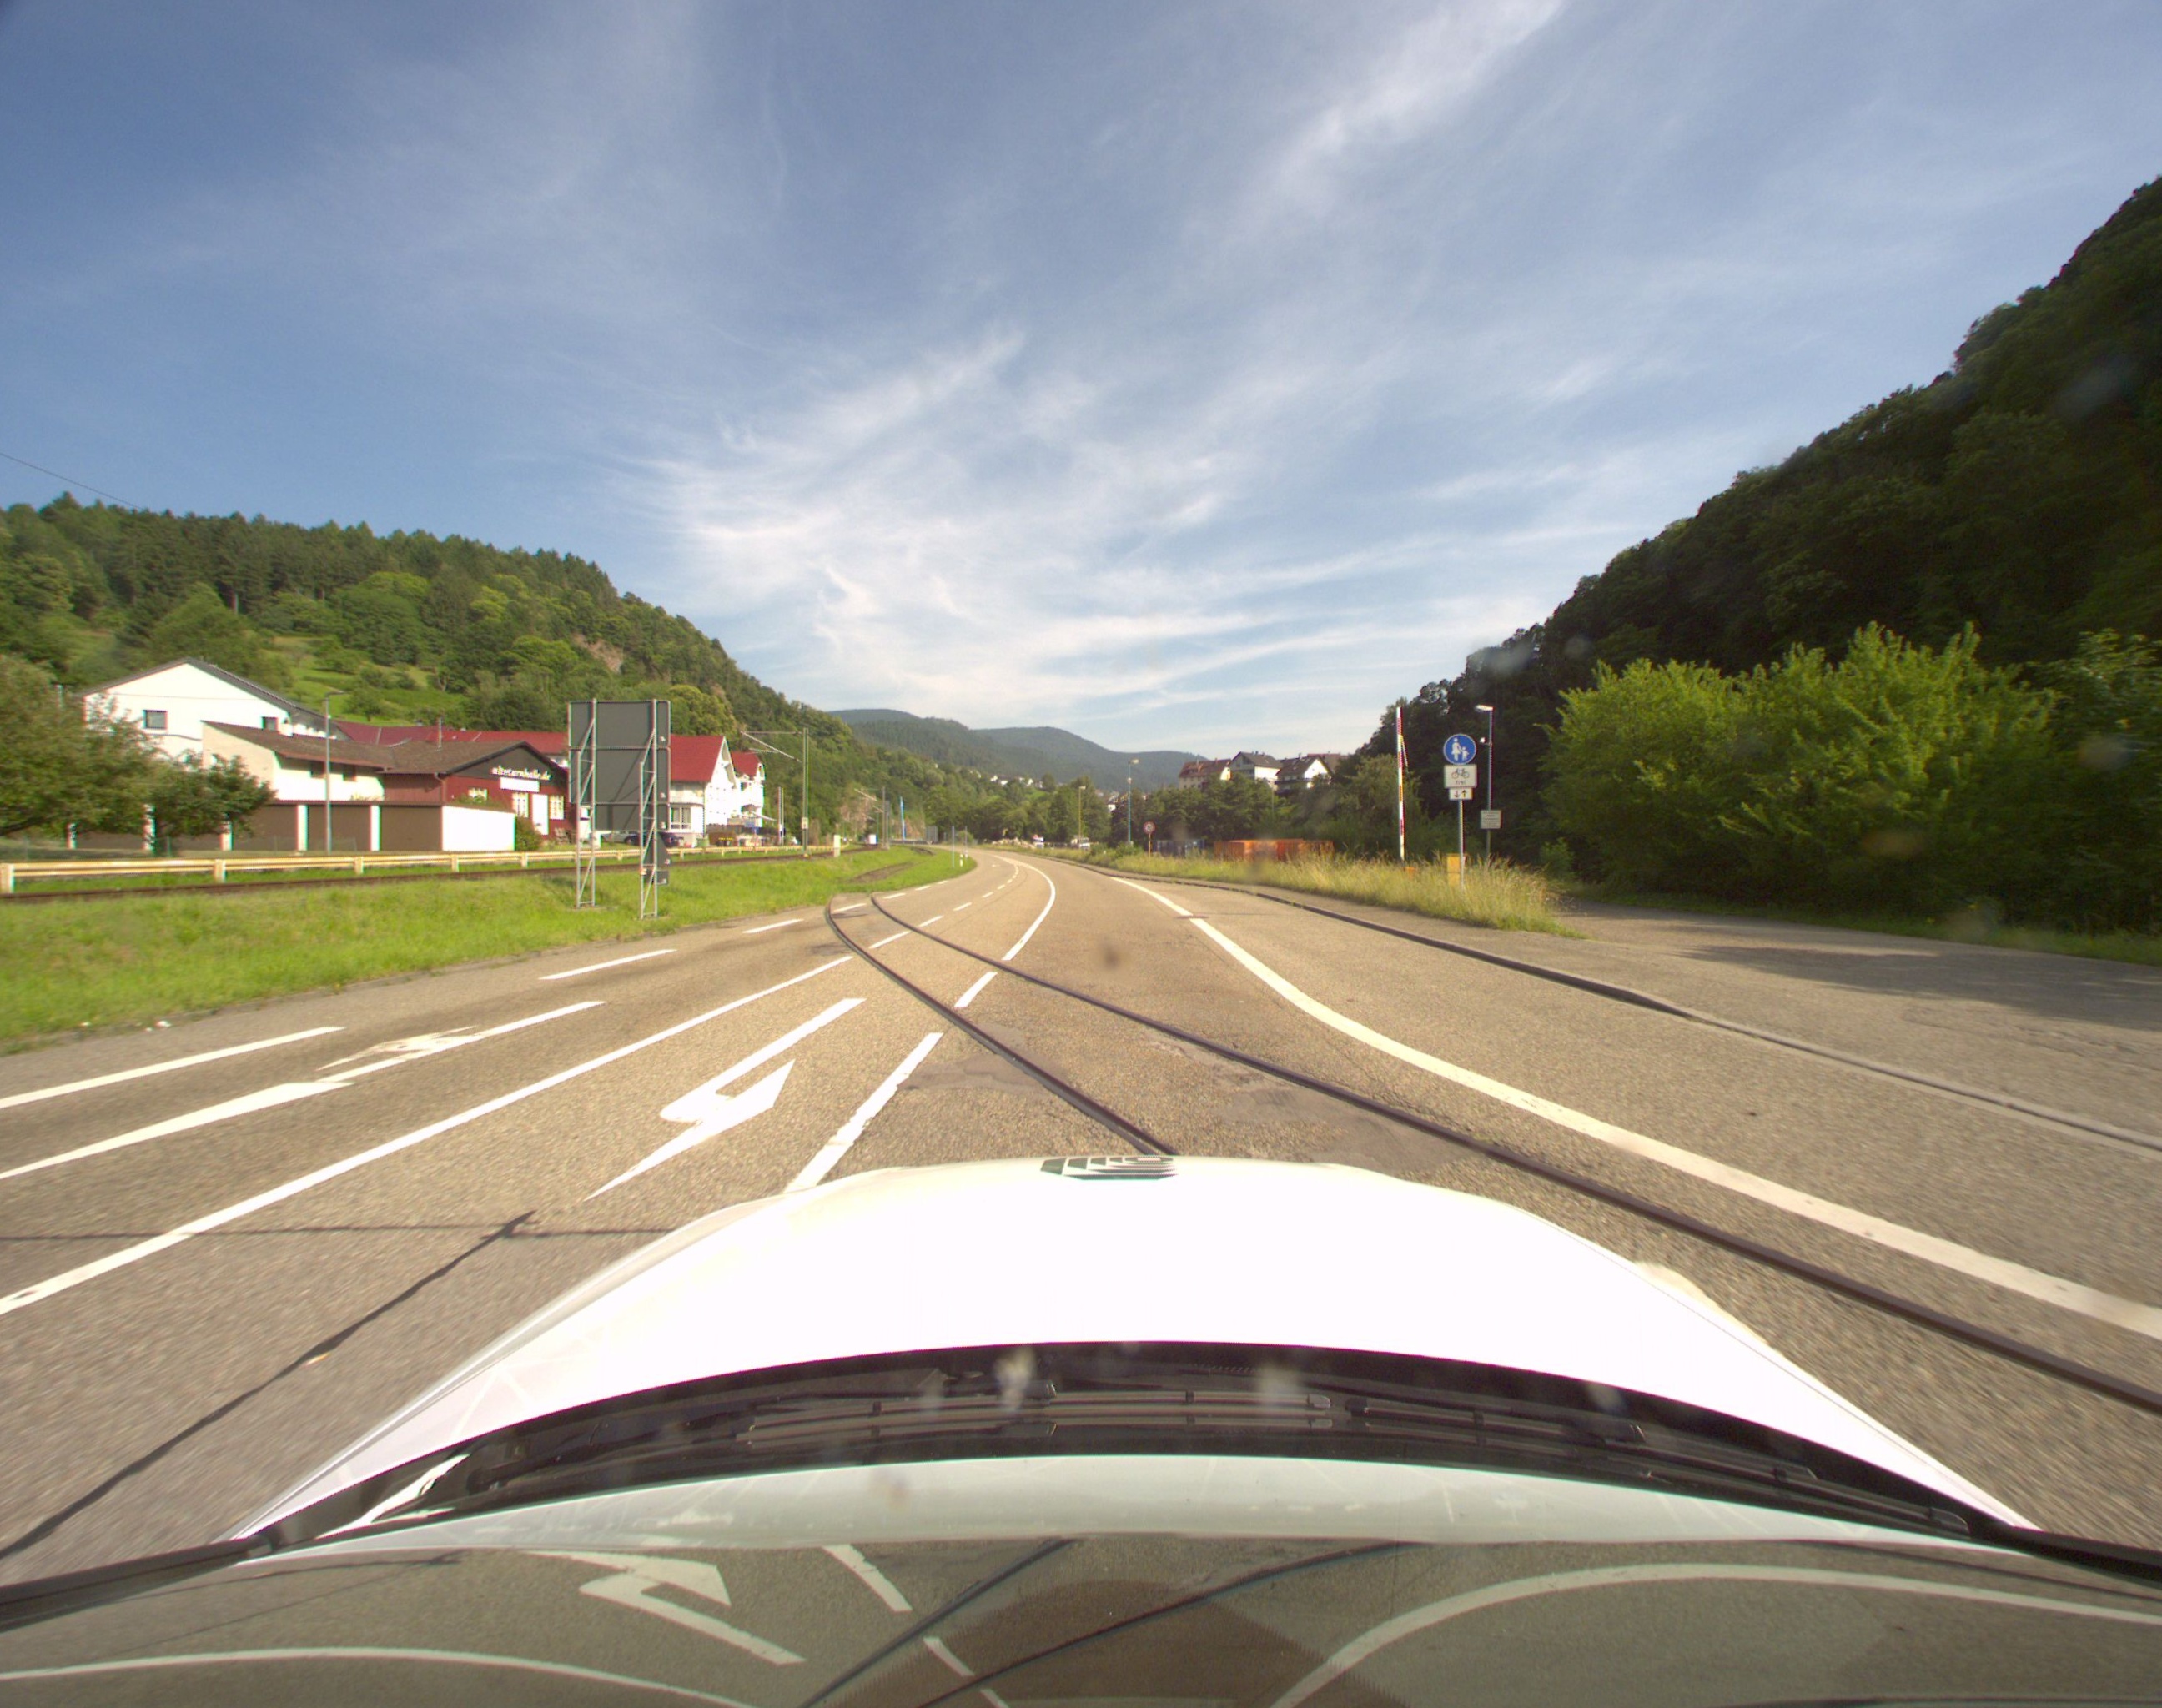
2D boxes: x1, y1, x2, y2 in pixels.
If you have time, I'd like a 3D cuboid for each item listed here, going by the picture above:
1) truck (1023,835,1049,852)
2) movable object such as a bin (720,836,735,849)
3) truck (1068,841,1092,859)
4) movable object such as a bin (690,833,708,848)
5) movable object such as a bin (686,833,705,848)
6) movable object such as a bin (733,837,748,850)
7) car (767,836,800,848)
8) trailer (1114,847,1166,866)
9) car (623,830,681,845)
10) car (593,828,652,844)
[{"bbox_3d":[-10.436,-2.373,188.189,3.116,3.781,8.581,1,1,-22],"label":"truck"},{"bbox_3d":[-34.306,-1.117,79.027,1.089,1.191,1.140,1,1,-9],"label":"movable object such as a bin"},{"bbox_3d":[-0.173,-0.882,171.817,3.107,3.781,8.605,1,1,-14],"label":"truck"},{"bbox_3d":[-31.845,-1.136,67.898,1.141,1.192,1.088,1,0,-14],"label":"movable object such as a bin"},{"bbox_3d":[-31.568,-1.084,66.703,1.141,1.192,1.088,1,0,-14],"label":"movable object such as a bin"},{"bbox_3d":[-33.170,-1.021,79.308,1.089,1.192,1.140,1,0,-9],"label":"movable object such as a bin"},{"bbox_3d":[-42.618,-1.702,116.753,4.144,1.691,1.994,0,0,-10],"label":"car"},{"bbox_3d":[5.287,0.175,74.550,2.790,1.474,9.862,2,1,-8],"label":"trailer"},{"bbox_3d":[-37.205,-1.413,70.702,4.091,1.270,1.732,0,1,-8],"label":"car"},{"bbox_3d":[-41.107,-1.586,73.034,4.251,1.329,1.750,0,1,-9],"label":"car"}]
